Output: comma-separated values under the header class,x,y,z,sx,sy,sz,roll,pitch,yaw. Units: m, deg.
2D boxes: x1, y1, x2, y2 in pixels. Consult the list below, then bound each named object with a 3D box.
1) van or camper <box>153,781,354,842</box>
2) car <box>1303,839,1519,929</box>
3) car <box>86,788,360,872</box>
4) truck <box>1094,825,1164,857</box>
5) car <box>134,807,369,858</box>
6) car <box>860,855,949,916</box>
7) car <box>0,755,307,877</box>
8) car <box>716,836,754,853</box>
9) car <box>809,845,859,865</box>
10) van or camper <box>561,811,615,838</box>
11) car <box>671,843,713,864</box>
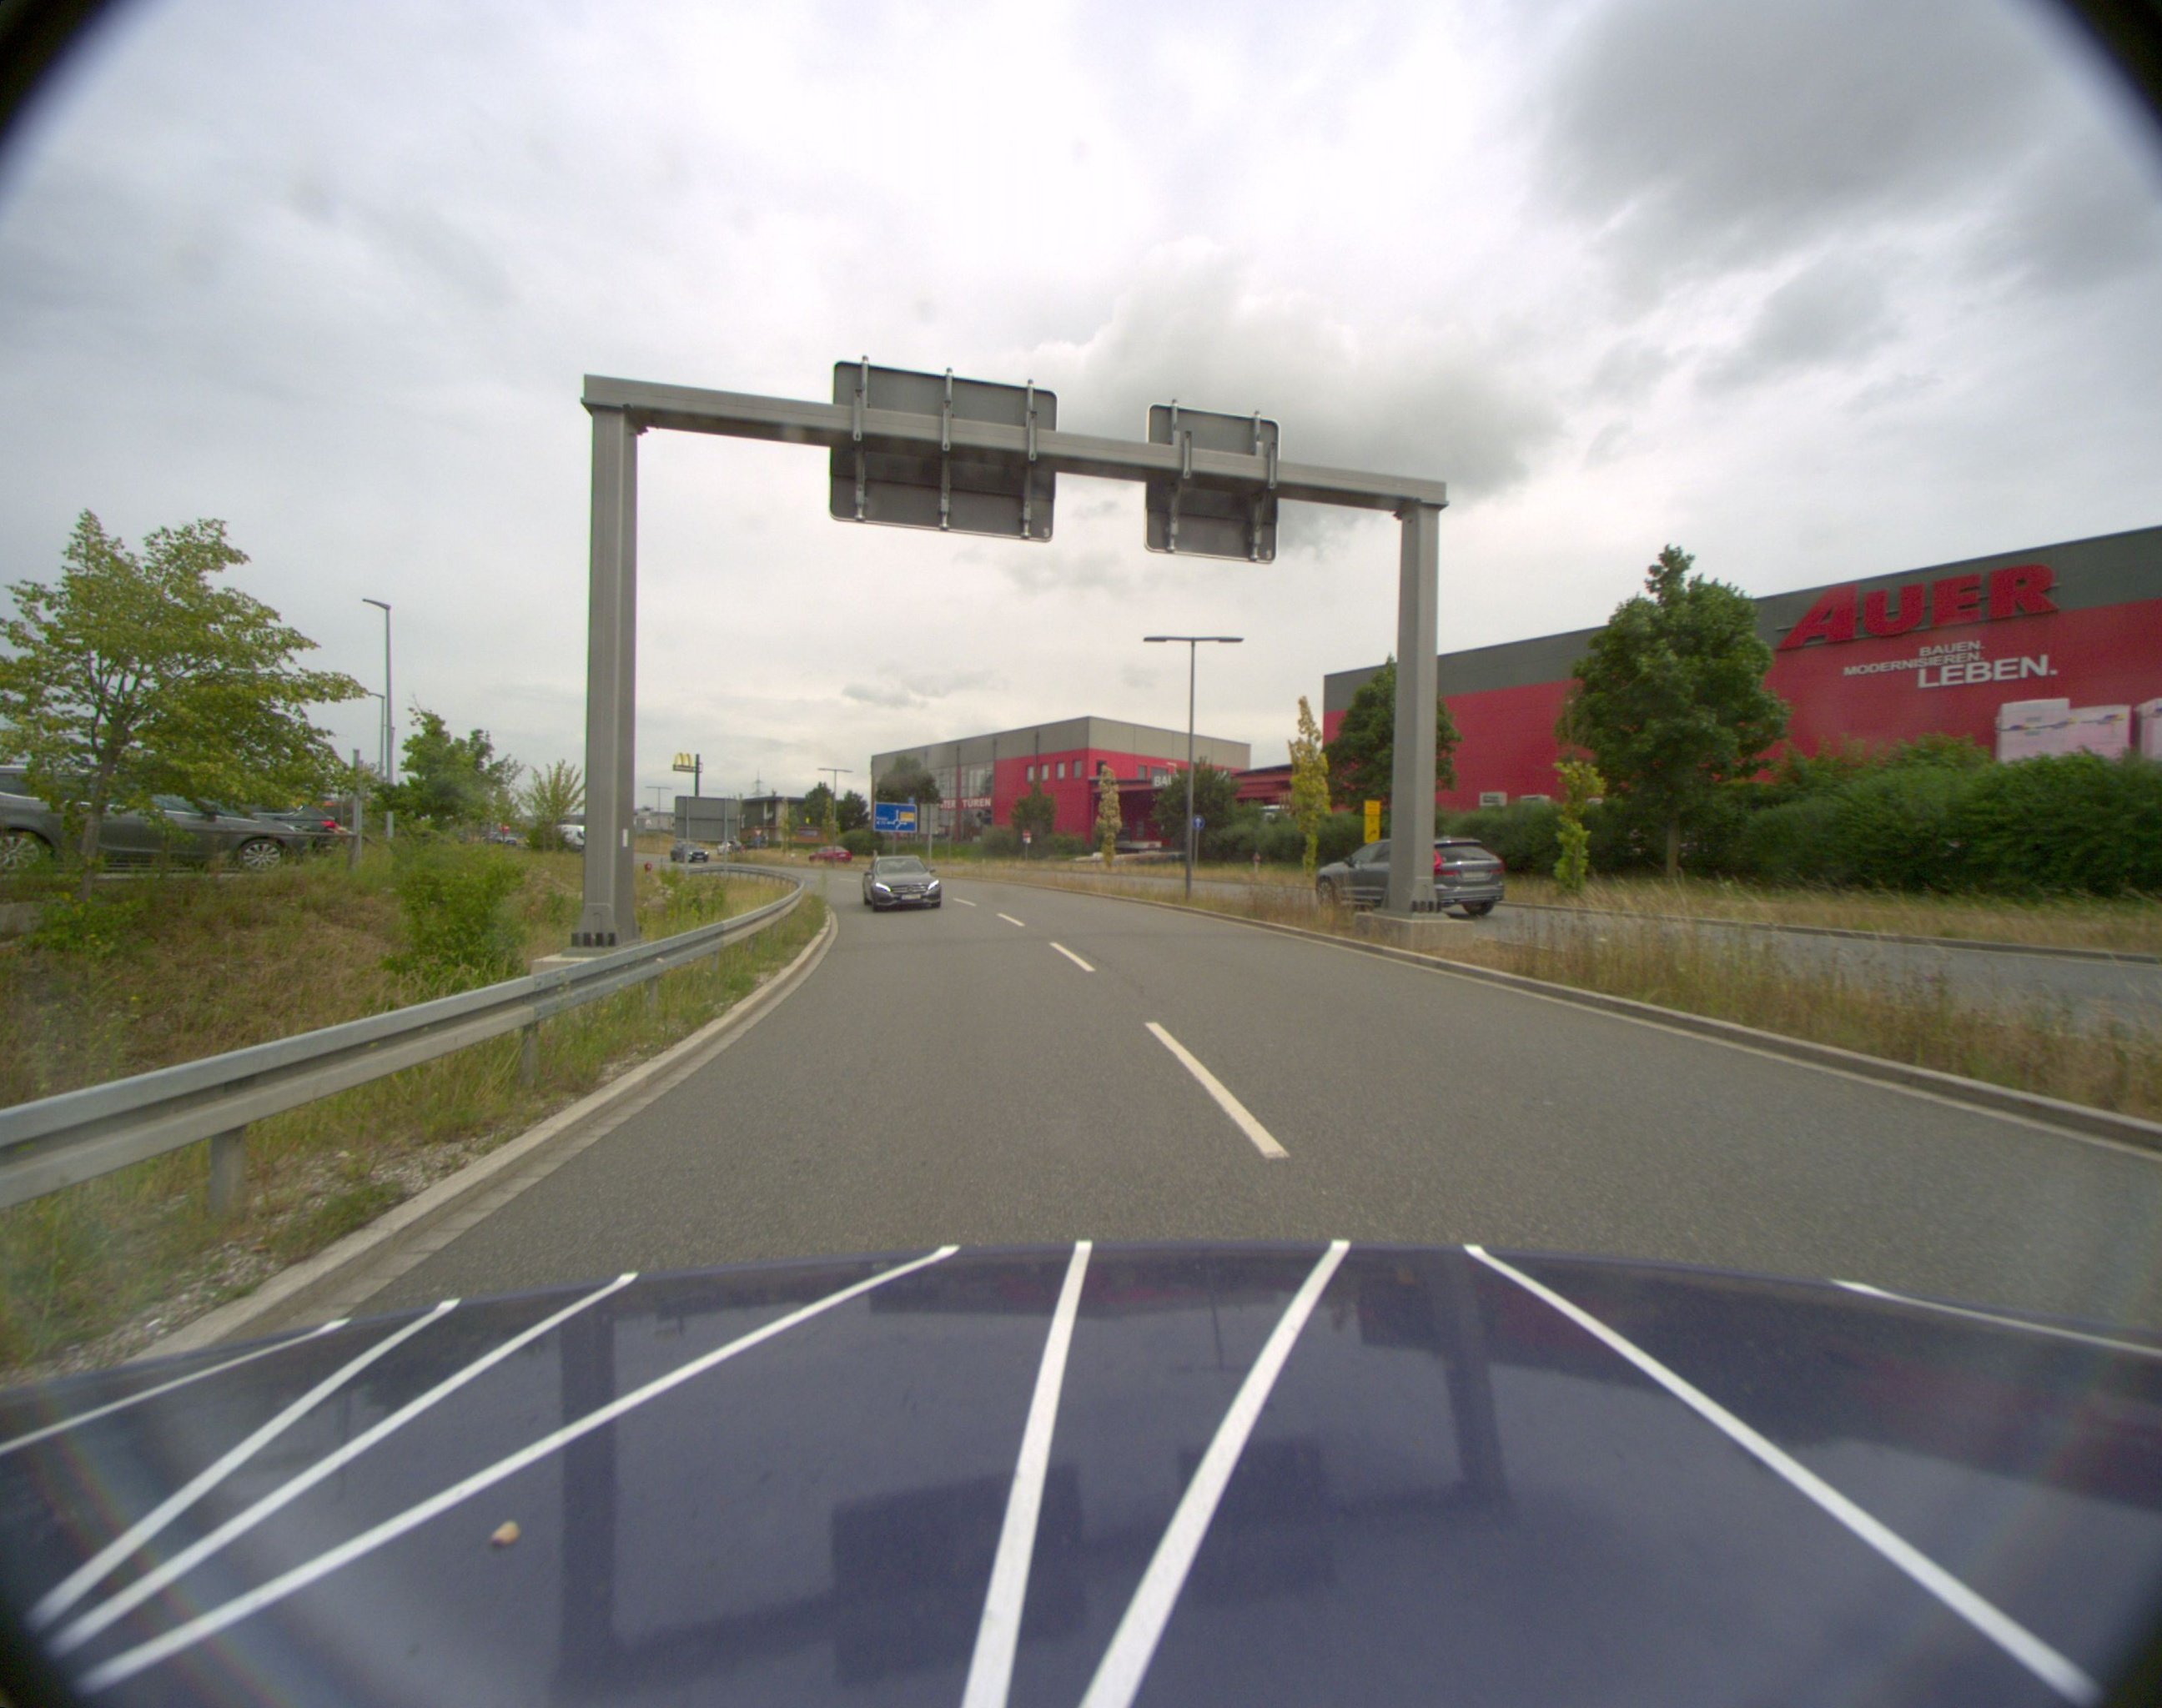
class,x,y,z,sx,sy,sz,roll,pitch,yaw
van or camper,-29.707,-1.445,27.548,1.811,1.986,4.678,0,1,7
car,6.901,0.542,16.567,1.816,1.620,4.681,-2,1,-14
car,-18.830,-0.548,16.869,1.514,1.644,3.740,-1,2,31
truck,3.812,-1.087,61.484,2.044,2.473,5.890,-2,2,-41
car,-25.491,-0.648,23.600,1.699,1.392,4.596,2,2,23
car,-5.147,0.804,21.758,1.909,1.488,4.331,-2,1,-20
car,-16.121,-0.588,12.574,1.801,1.772,4.173,-1,2,18
car,-35.696,-0.963,78.428,4.623,1.617,1.918,0,3,44
car,-20.093,0.051,61.663,1.800,1.439,4.957,-5,3,-44
van or camper,-50.317,-3.029,77.564,6.026,2.635,2.339,1,2,33
car,-33.653,-0.083,65.737,3.988,1.710,1.847,1,3,43
